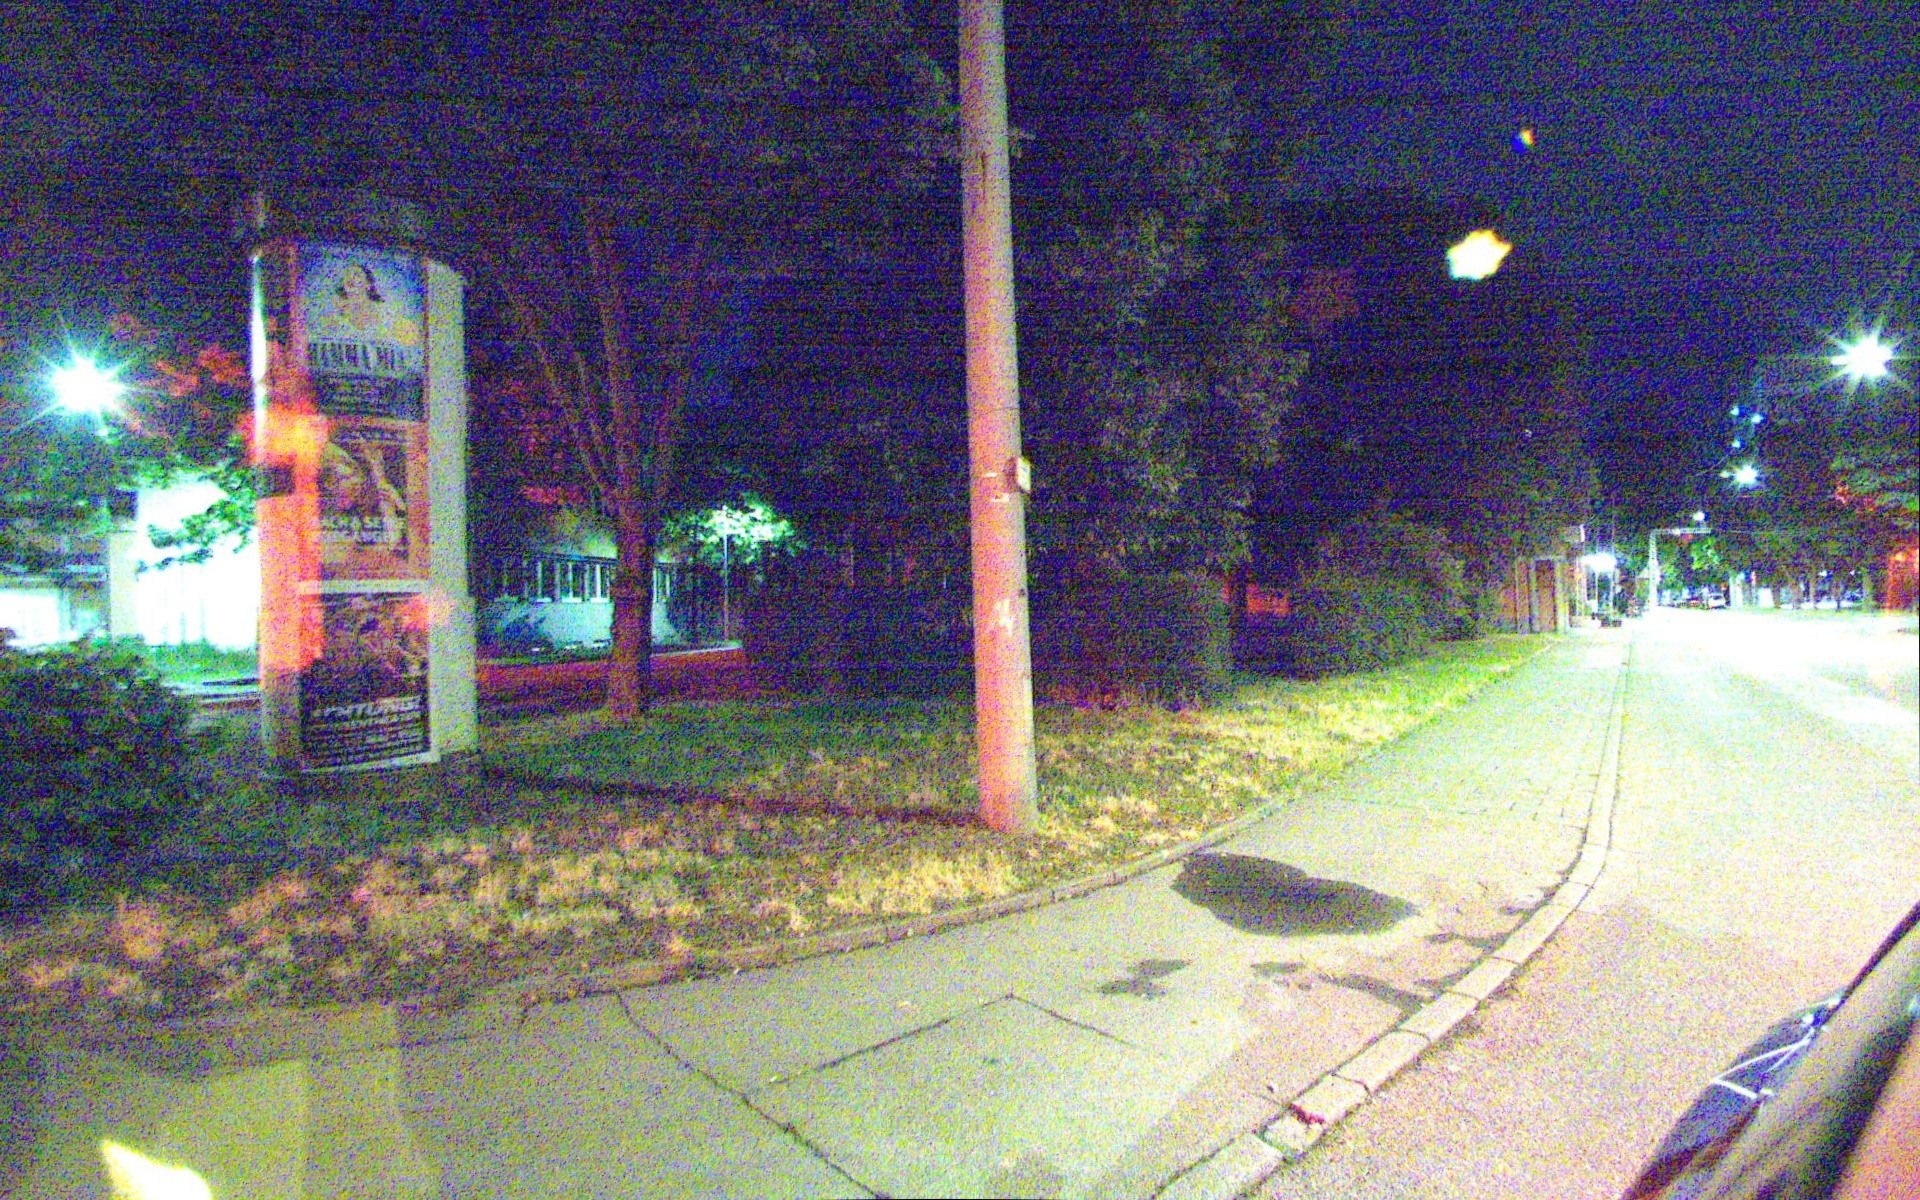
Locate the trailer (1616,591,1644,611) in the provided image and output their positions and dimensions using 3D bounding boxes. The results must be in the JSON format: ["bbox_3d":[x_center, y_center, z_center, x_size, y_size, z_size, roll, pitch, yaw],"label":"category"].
[{"bbox_3d":[54.025,0.032,81.598,1.596,1.514,3.683,-3,-2,37],"label":"trailer"}]

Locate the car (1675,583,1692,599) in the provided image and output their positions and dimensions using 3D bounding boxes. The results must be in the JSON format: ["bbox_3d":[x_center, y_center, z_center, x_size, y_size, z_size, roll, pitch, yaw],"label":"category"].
[{"bbox_3d":[127.364,-1.597,178.146,1.990,2.540,4.898,-5,-3,32],"label":"car"}]

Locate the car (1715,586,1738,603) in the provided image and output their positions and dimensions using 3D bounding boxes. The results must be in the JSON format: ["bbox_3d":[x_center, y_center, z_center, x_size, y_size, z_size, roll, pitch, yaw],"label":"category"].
[{"bbox_3d":[88.772,-0.629,117.208,1.871,1.832,3.684,-5,-3,35],"label":"car"}]

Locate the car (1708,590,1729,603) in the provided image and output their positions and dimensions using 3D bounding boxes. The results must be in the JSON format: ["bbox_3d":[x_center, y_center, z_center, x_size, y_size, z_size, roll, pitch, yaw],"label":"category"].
[{"bbox_3d":[91.704,-0.387,122.360,1.815,1.450,3.684,-5,-3,35],"label":"car"}]

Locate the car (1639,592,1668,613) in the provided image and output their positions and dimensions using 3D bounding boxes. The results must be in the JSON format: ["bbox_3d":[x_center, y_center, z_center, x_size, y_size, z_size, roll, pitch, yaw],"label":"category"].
[{"bbox_3d":[50.439,0.167,73.573,1.582,1.480,3.747,-3,-1,36],"label":"car"}]

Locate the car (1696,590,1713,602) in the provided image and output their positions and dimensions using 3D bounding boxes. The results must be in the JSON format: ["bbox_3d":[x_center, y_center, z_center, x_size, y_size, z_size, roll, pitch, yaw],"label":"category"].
[{"bbox_3d":[103.495,-0.574,140.694,1.815,1.668,3.684,-1,0,35],"label":"car"}]

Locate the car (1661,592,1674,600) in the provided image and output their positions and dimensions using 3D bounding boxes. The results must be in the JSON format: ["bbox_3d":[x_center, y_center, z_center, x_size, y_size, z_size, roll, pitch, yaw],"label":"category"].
[{"bbox_3d":[141.041,-0.782,201.697,1.813,1.450,3.689,-5,-2,32],"label":"car"}]
